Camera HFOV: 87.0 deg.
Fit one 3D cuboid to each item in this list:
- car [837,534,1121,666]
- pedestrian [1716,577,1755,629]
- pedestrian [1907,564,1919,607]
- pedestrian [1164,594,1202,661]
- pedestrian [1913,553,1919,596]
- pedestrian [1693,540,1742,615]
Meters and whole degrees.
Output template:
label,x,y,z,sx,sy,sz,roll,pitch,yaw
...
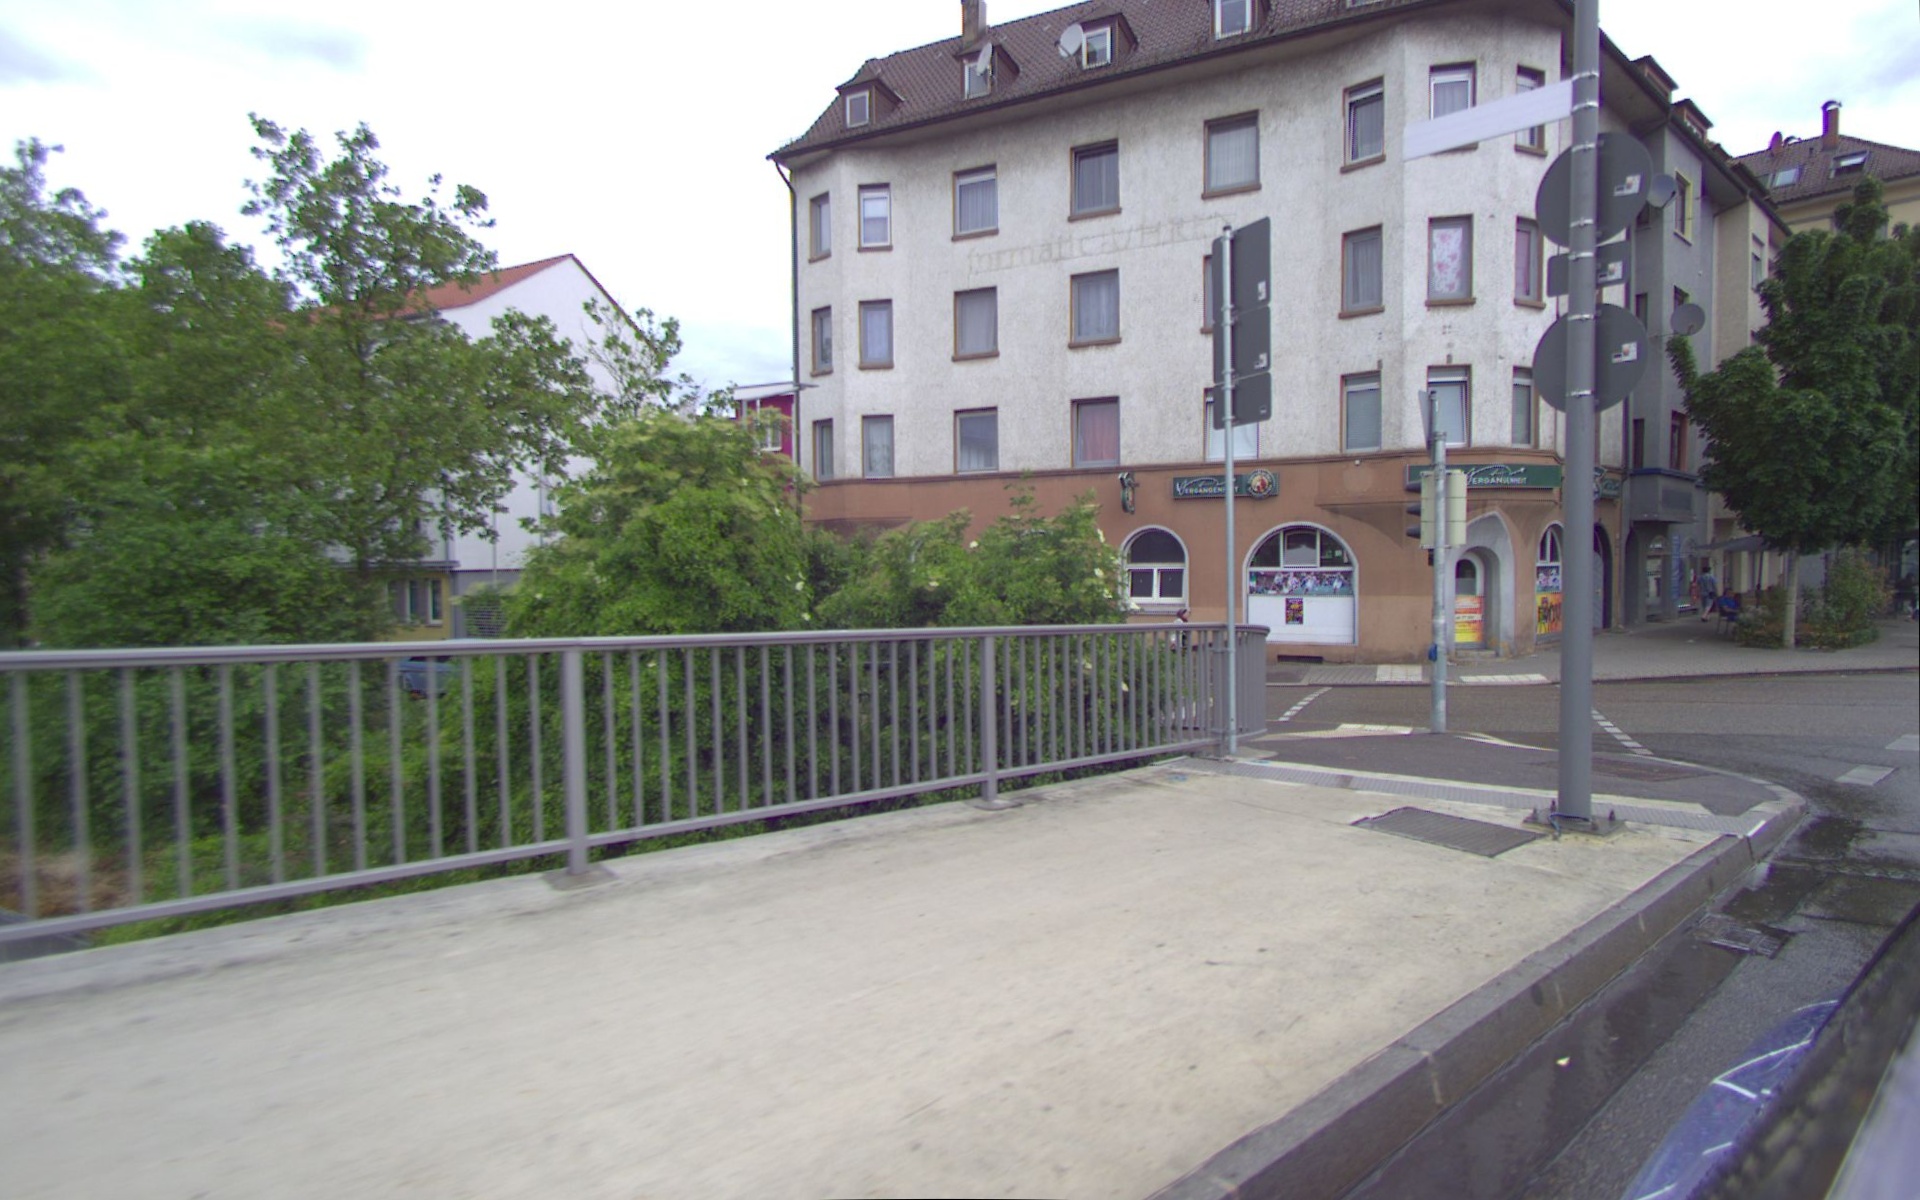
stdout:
label,x,y,z,sx,sy,sz,roll,pitch,yaw
car,0.322,0.009,18.536,4.711,2.037,1.984,-3,3,27
pedestrian,19.221,0.055,25.080,0.548,1.203,0.666,-7,7,-42
pedestrian,31.126,-0.477,32.766,0.615,1.350,0.607,-7,7,-41
pedestrian,5.179,0.627,23.509,0.694,1.472,0.624,0,6,28
pedestrian,32.204,-0.842,33.730,0.506,1.412,0.564,-7,7,-43
pedestrian,22.079,-0.676,29.503,1.181,2.036,0.898,-7,7,-41
